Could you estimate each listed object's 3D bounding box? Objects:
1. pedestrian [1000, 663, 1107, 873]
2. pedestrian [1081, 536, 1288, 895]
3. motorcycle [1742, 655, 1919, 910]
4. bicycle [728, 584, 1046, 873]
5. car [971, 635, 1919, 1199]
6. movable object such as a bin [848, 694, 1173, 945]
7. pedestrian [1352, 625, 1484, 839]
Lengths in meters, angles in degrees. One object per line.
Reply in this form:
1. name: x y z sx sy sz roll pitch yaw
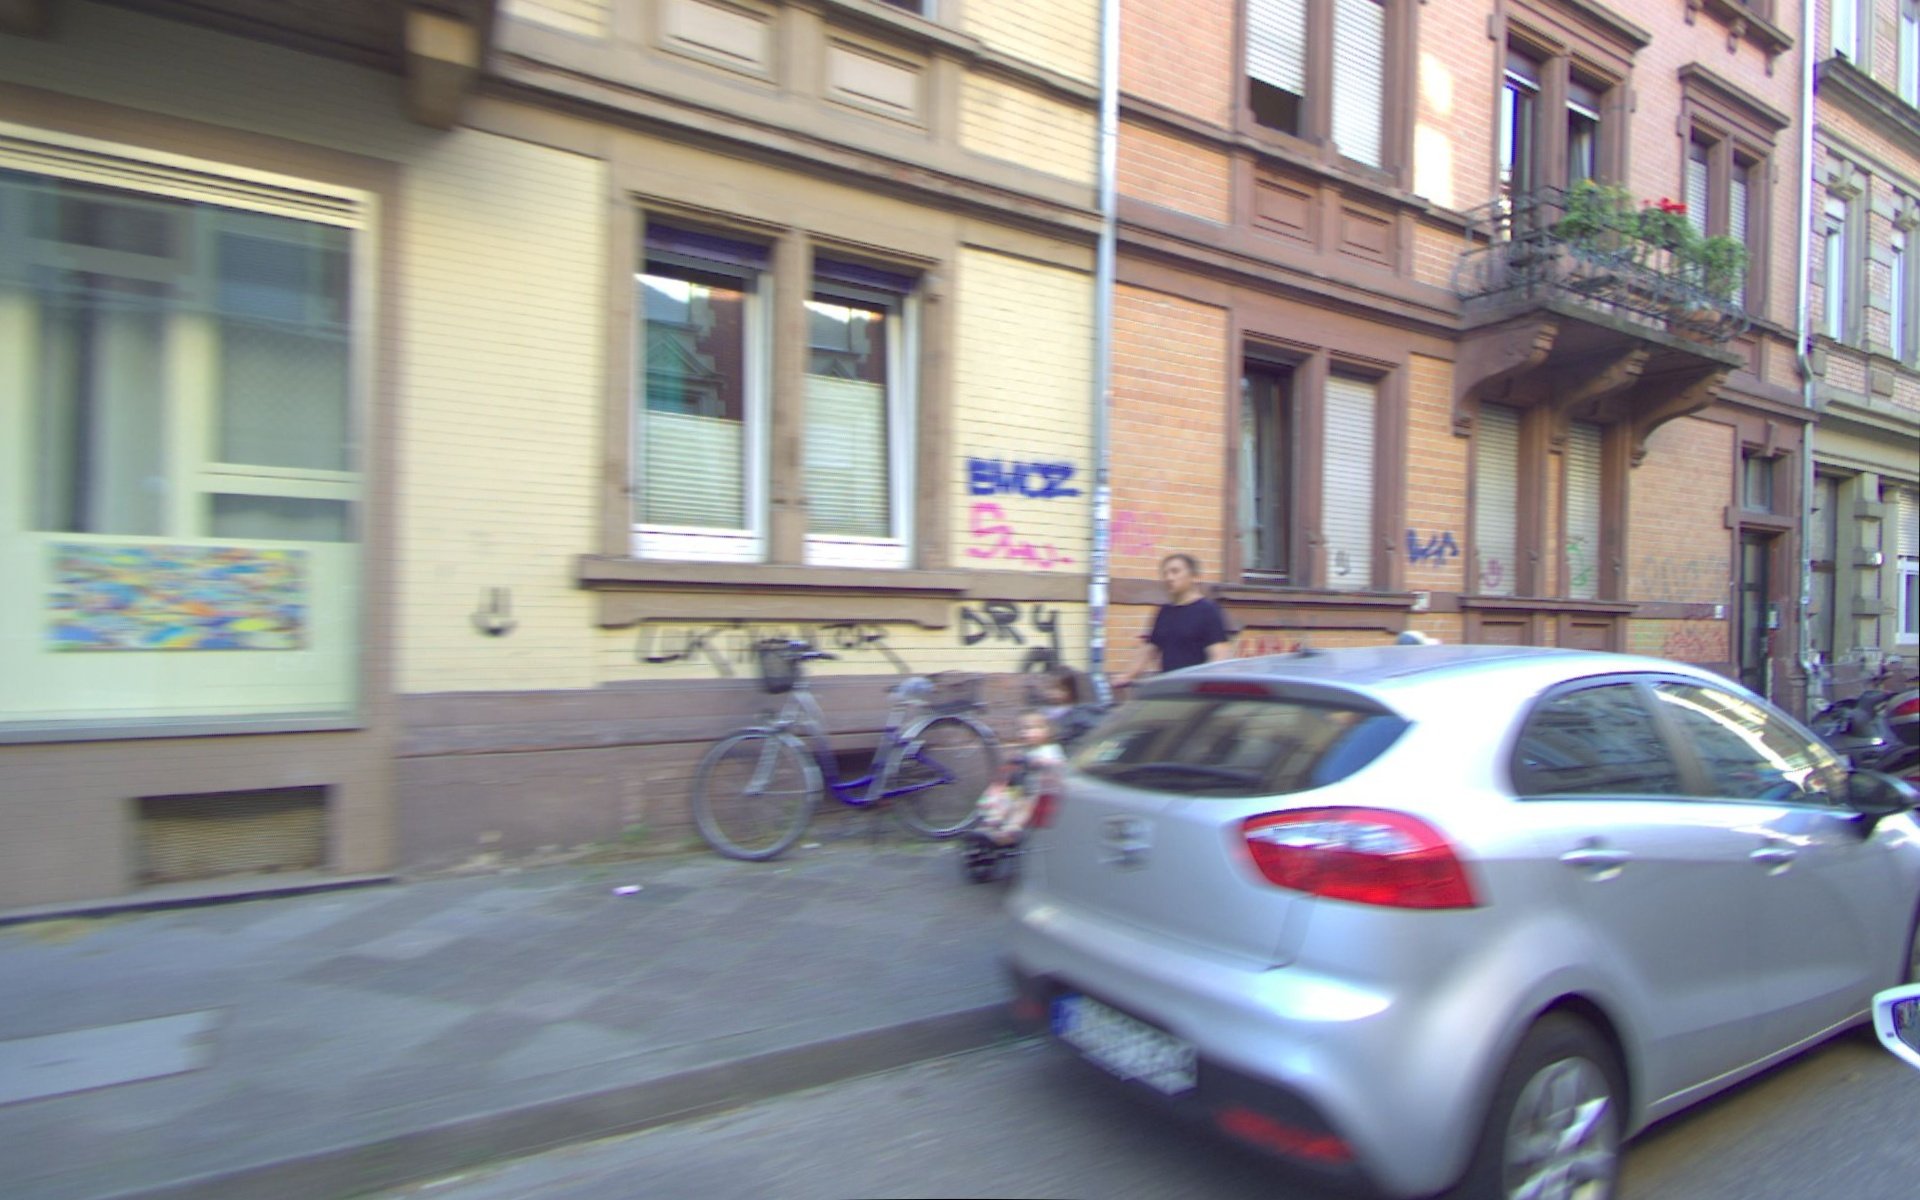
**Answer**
1. pedestrian: 0.530 0.927 5.708 0.427 1.101 0.391 1 1 -35
2. pedestrian: 1.234 0.584 5.533 0.878 1.788 0.681 1 0 -33
3. motorcycle: 5.942 1.048 6.345 0.827 1.378 2.198 -1 -3 17
4. bicycle: -0.391 0.674 5.720 1.691 1.444 0.521 2 3 -30
5. car: 2.147 0.859 3.721 3.954 1.437 1.666 1 -2 -31
6. movable object such as a bin: 0.257 0.985 4.901 1.400 0.944 0.757 1 0 -33
7. pedestrian: 2.985 0.831 6.552 0.639 1.301 0.447 2 1 -30
